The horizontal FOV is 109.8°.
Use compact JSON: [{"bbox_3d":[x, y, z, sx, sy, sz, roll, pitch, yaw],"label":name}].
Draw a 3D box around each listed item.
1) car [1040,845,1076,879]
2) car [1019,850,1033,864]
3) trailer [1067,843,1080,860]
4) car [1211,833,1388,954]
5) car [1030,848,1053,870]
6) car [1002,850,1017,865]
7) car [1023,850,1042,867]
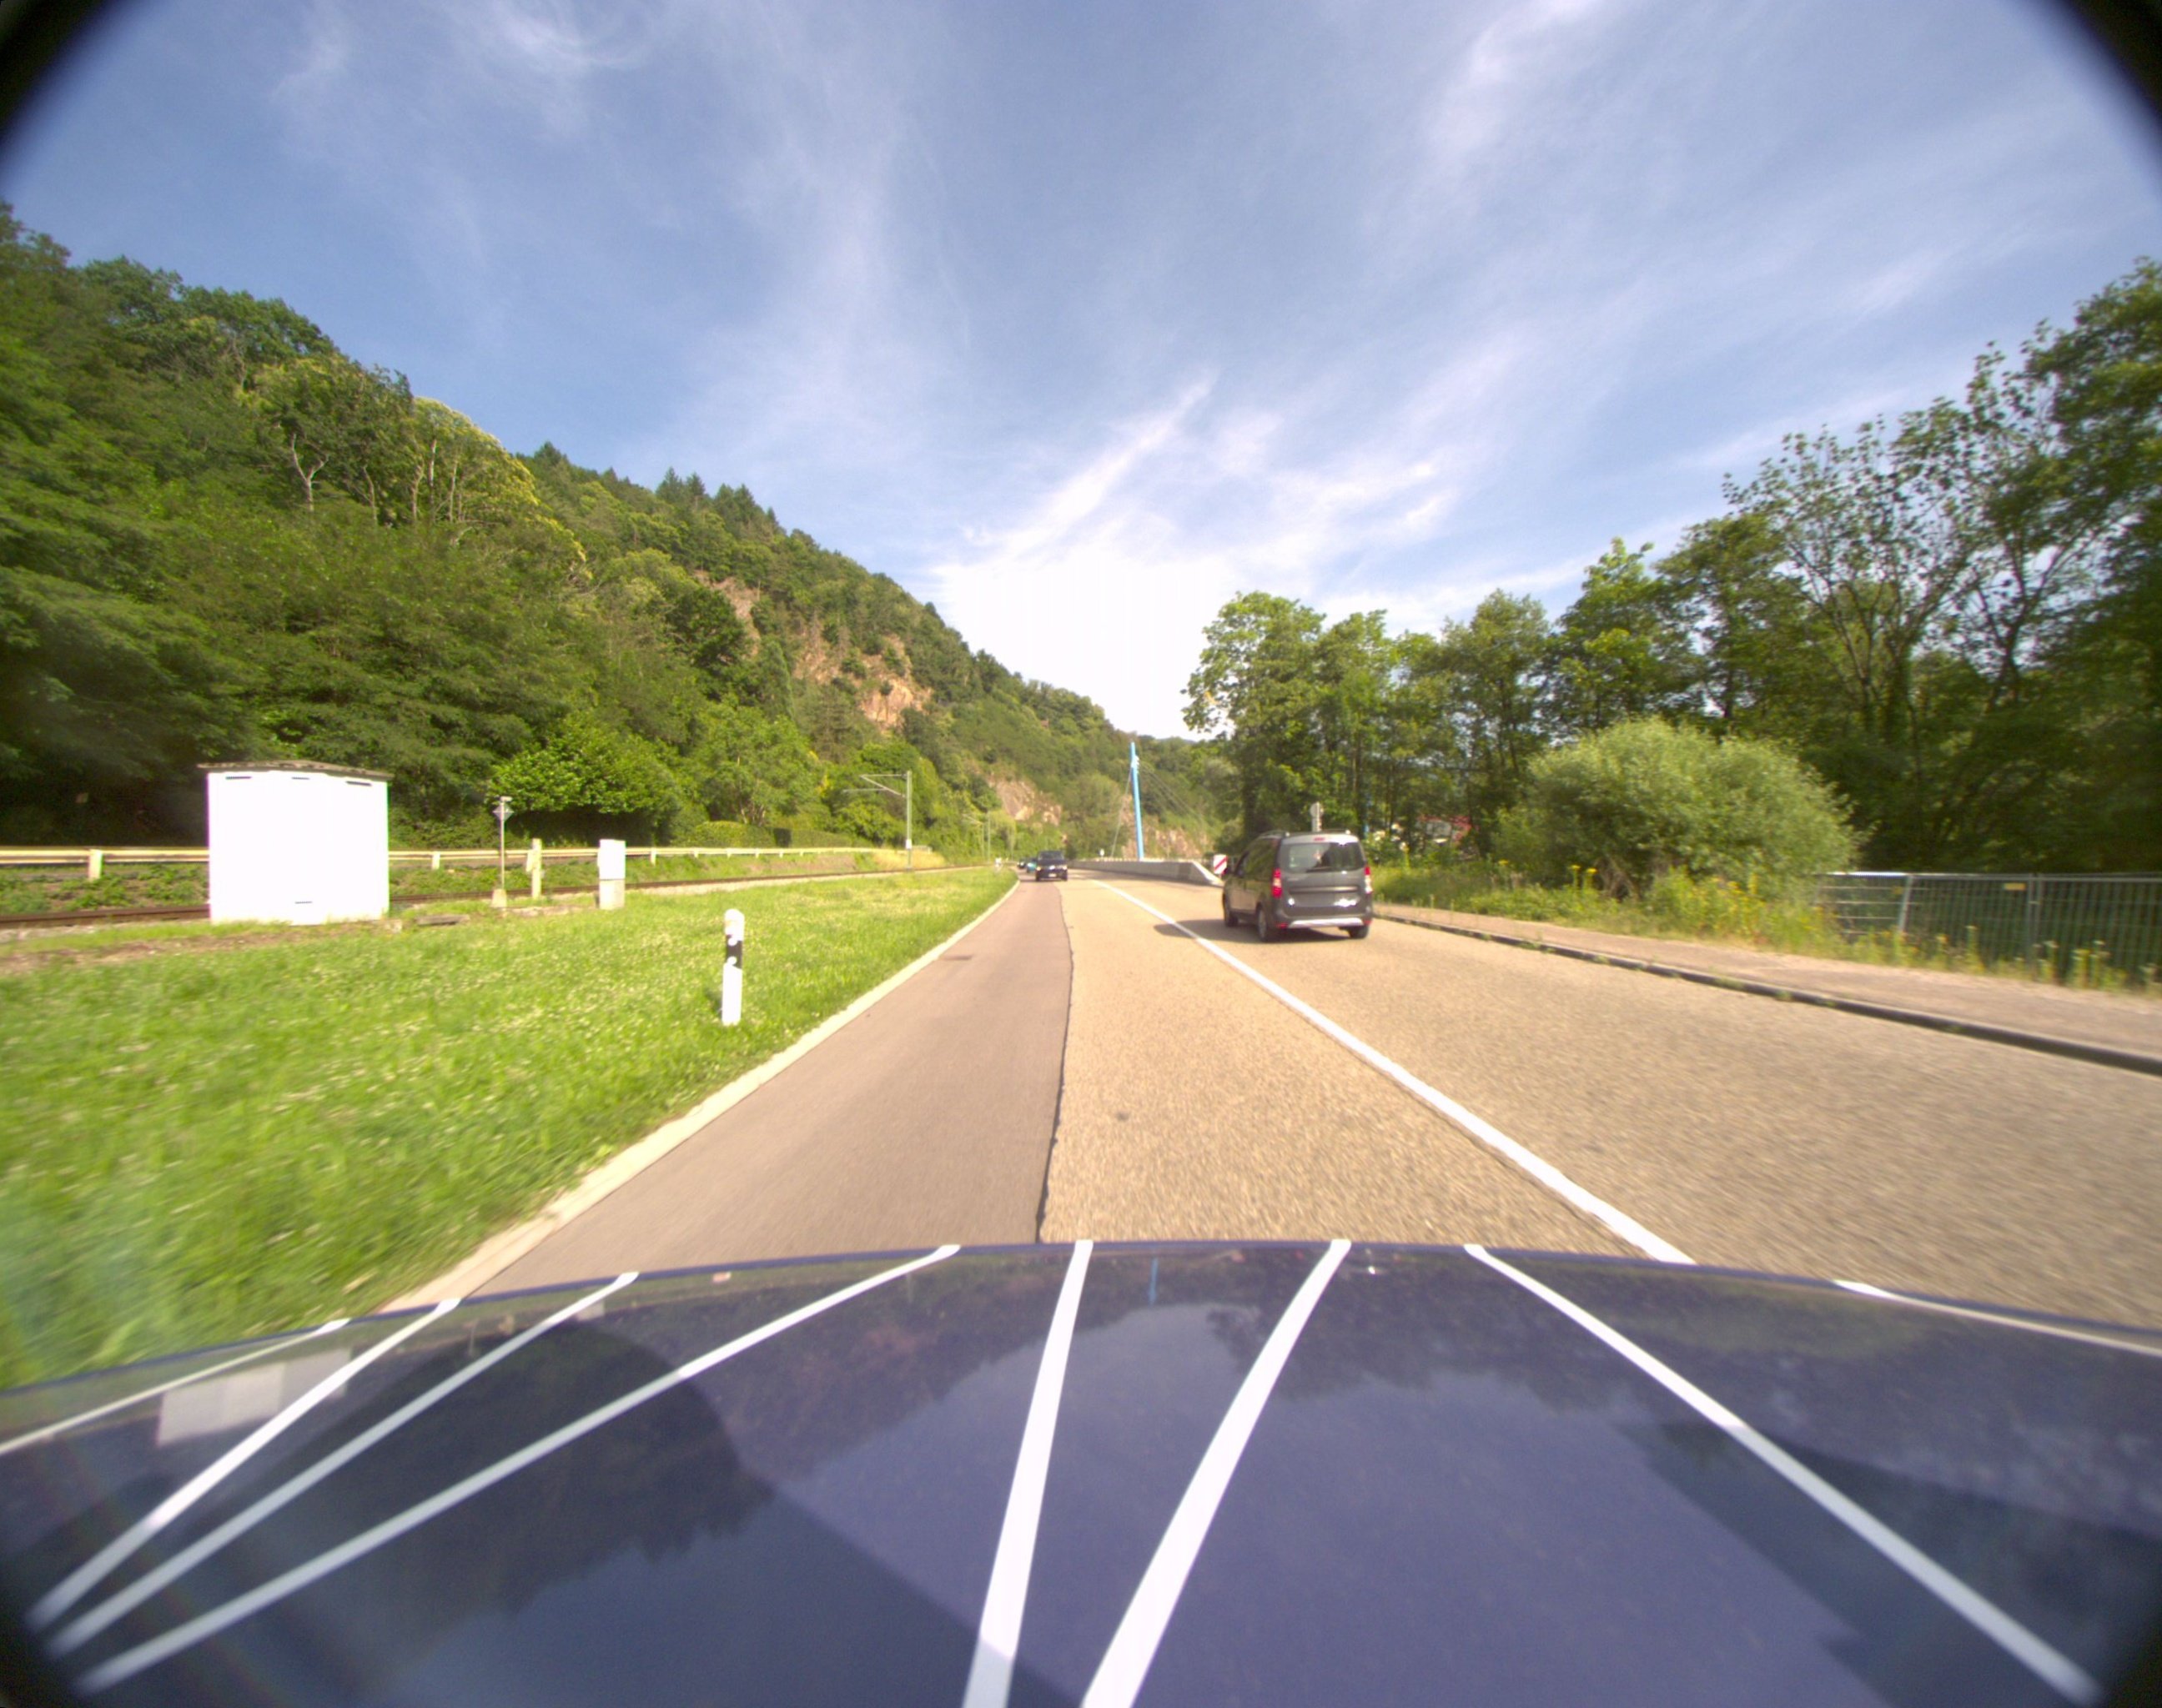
[{"bbox_3d":[-1.463,0.544,46.602,1.999,2.001,4.000,1,-2,-4],"label":"car"},{"bbox_3d":[-8.273,0.489,114.583,1.999,2.002,3.999,2,0,-3],"label":"car"},{"bbox_3d":[-2.000,-0.532,190.258,2.864,3.989,13.667,1,0,-2],"label":"trailer"},{"bbox_3d":[3.710,0.599,13.846,1.855,1.774,4.684,-2,0,0],"label":"car"},{"bbox_3d":[-3.837,0.511,72.935,1.999,2.002,3.998,2,0,-5],"label":"car"},{"bbox_3d":[-9.621,0.444,102.533,1.999,2.002,3.998,2,0,-4],"label":"car"},{"bbox_3d":[-6.080,0.532,94.836,1.998,2.002,4.000,2,0,1],"label":"car"}]
